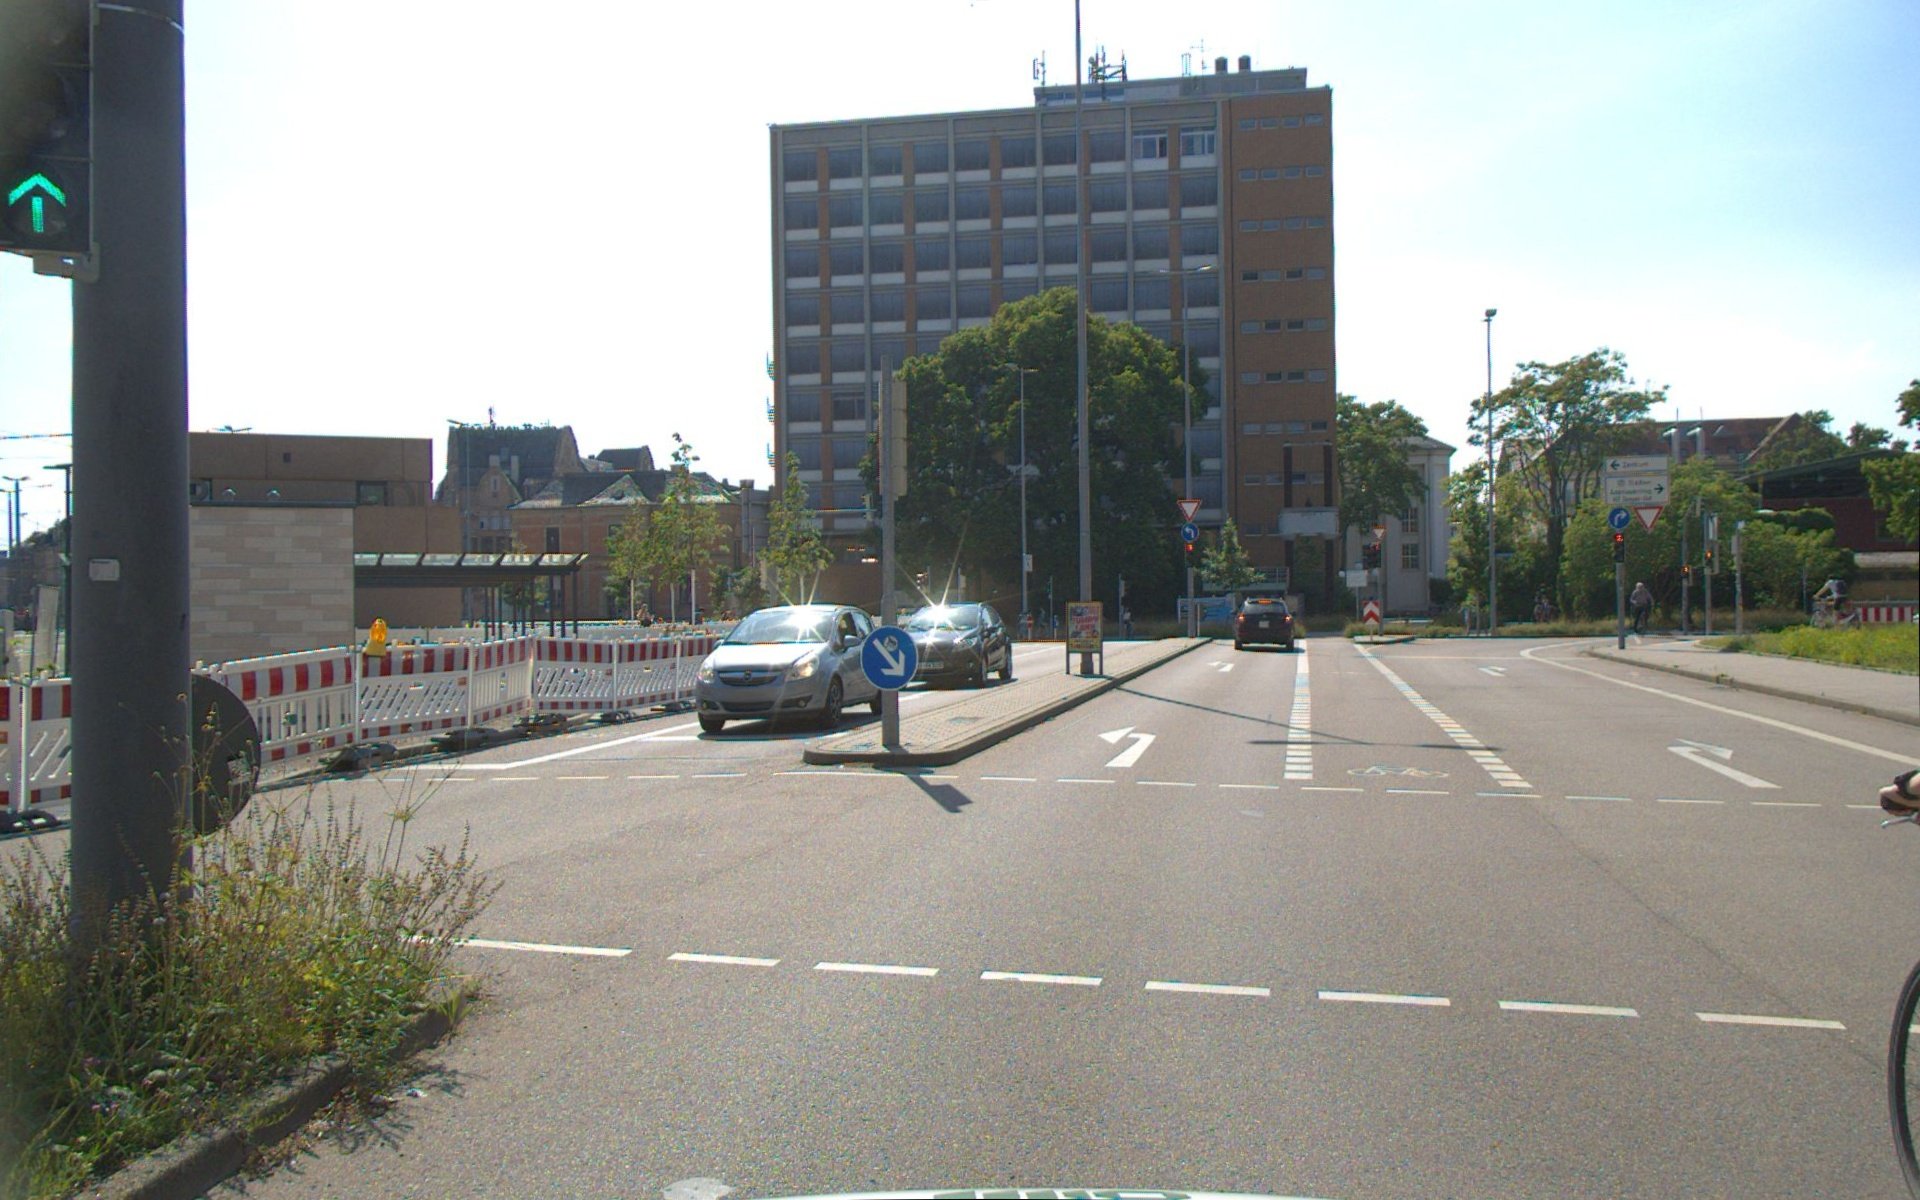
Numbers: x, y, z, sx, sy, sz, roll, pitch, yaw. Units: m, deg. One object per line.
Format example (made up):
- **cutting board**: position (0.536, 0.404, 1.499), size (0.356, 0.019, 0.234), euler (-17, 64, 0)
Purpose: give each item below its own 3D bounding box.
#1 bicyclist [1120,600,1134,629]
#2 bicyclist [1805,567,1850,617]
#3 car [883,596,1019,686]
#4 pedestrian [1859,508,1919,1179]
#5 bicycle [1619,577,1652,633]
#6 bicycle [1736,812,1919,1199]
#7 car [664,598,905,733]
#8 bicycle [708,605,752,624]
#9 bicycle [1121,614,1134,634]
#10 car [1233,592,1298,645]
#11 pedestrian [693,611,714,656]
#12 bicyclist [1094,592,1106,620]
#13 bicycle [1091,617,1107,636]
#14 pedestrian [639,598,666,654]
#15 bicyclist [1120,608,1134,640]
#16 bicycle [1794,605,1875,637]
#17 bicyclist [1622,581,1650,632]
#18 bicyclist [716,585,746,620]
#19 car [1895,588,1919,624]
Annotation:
- **bicyclist**: position (8.675, 0.751, 85.957), size (0.605, 1.468, 0.921), euler (-4, -1, 7)
- **bicyclist**: position (26.258, -0.230, 50.060), size (0.489, 1.496, 1.131), euler (2, -1, -30)
- **car**: position (-0.091, 0.691, 29.843), size (1.630, 1.476, 3.821), euler (-2, 0, 12)
- **pedestrian**: position (2.421, 0.540, 3.413), size (0.571, 1.492, 1.013), euler (0, -1, -1)
- **bicycle**: position (22.510, 0.164, 55.120), size (0.663, 1.796, 1.812), euler (-2, 0, 12)
- **bicycle**: position (2.436, 1.053, 3.547), size (0.584, 0.948, 2.028), euler (0, 0, 0)
- **car**: position (-2.056, 0.743, 20.577), size (1.755, 1.436, 4.003), euler (-3, 0, 12)
- **bicycle**: position (-9.969, 0.624, 71.608), size (1.852, 0.806, 0.560), euler (-1, 1, 25)
- **bicycle**: position (8.704, 1.262, 85.949), size (0.605, 0.977, 1.969), euler (-4, -1, 7)
- **car**: position (8.965, 0.523, 48.401), size (1.742, 1.468, 3.821), euler (1, 0, 12)
- **pedestrian**: position (-8.732, 1.130, 56.309), size (0.618, 1.518, 0.616), euler (-1, 0, -4)
- **bicyclist**: position (7.510, 0.331, 88.777), size (0.528, 1.441, 1.031), euler (-2, -1, 10)
- **bicycle**: position (7.471, 1.407, 88.755), size (0.689, 0.994, 2.032), euler (-2, 0, 10)
- **pedestrian**: position (-10.184, 0.869, 54.842), size (0.721, 1.783, 1.110), euler (-1, -3, -4)
- **bicyclist**: position (8.704, 1.262, 85.949), size (0.605, 1.609, 1.014), euler (-4, -1, 7)
- **bicycle**: position (26.382, 0.626, 49.933), size (0.665, 0.932, 2.146), euler (-1, 0, -30)
- **bicyclist**: position (22.535, 0.206, 55.157), size (0.663, 1.684, 0.919), euler (-2, 0, 12)
- **bicyclist**: position (-9.906, 0.109, 71.582), size (1.142, 1.500, 0.564), euler (-2, 0, 24)
- **car**: position (41.898, 0.204, 69.693), size (3.902, 1.490, 2.001), euler (-1, -1, 12)
